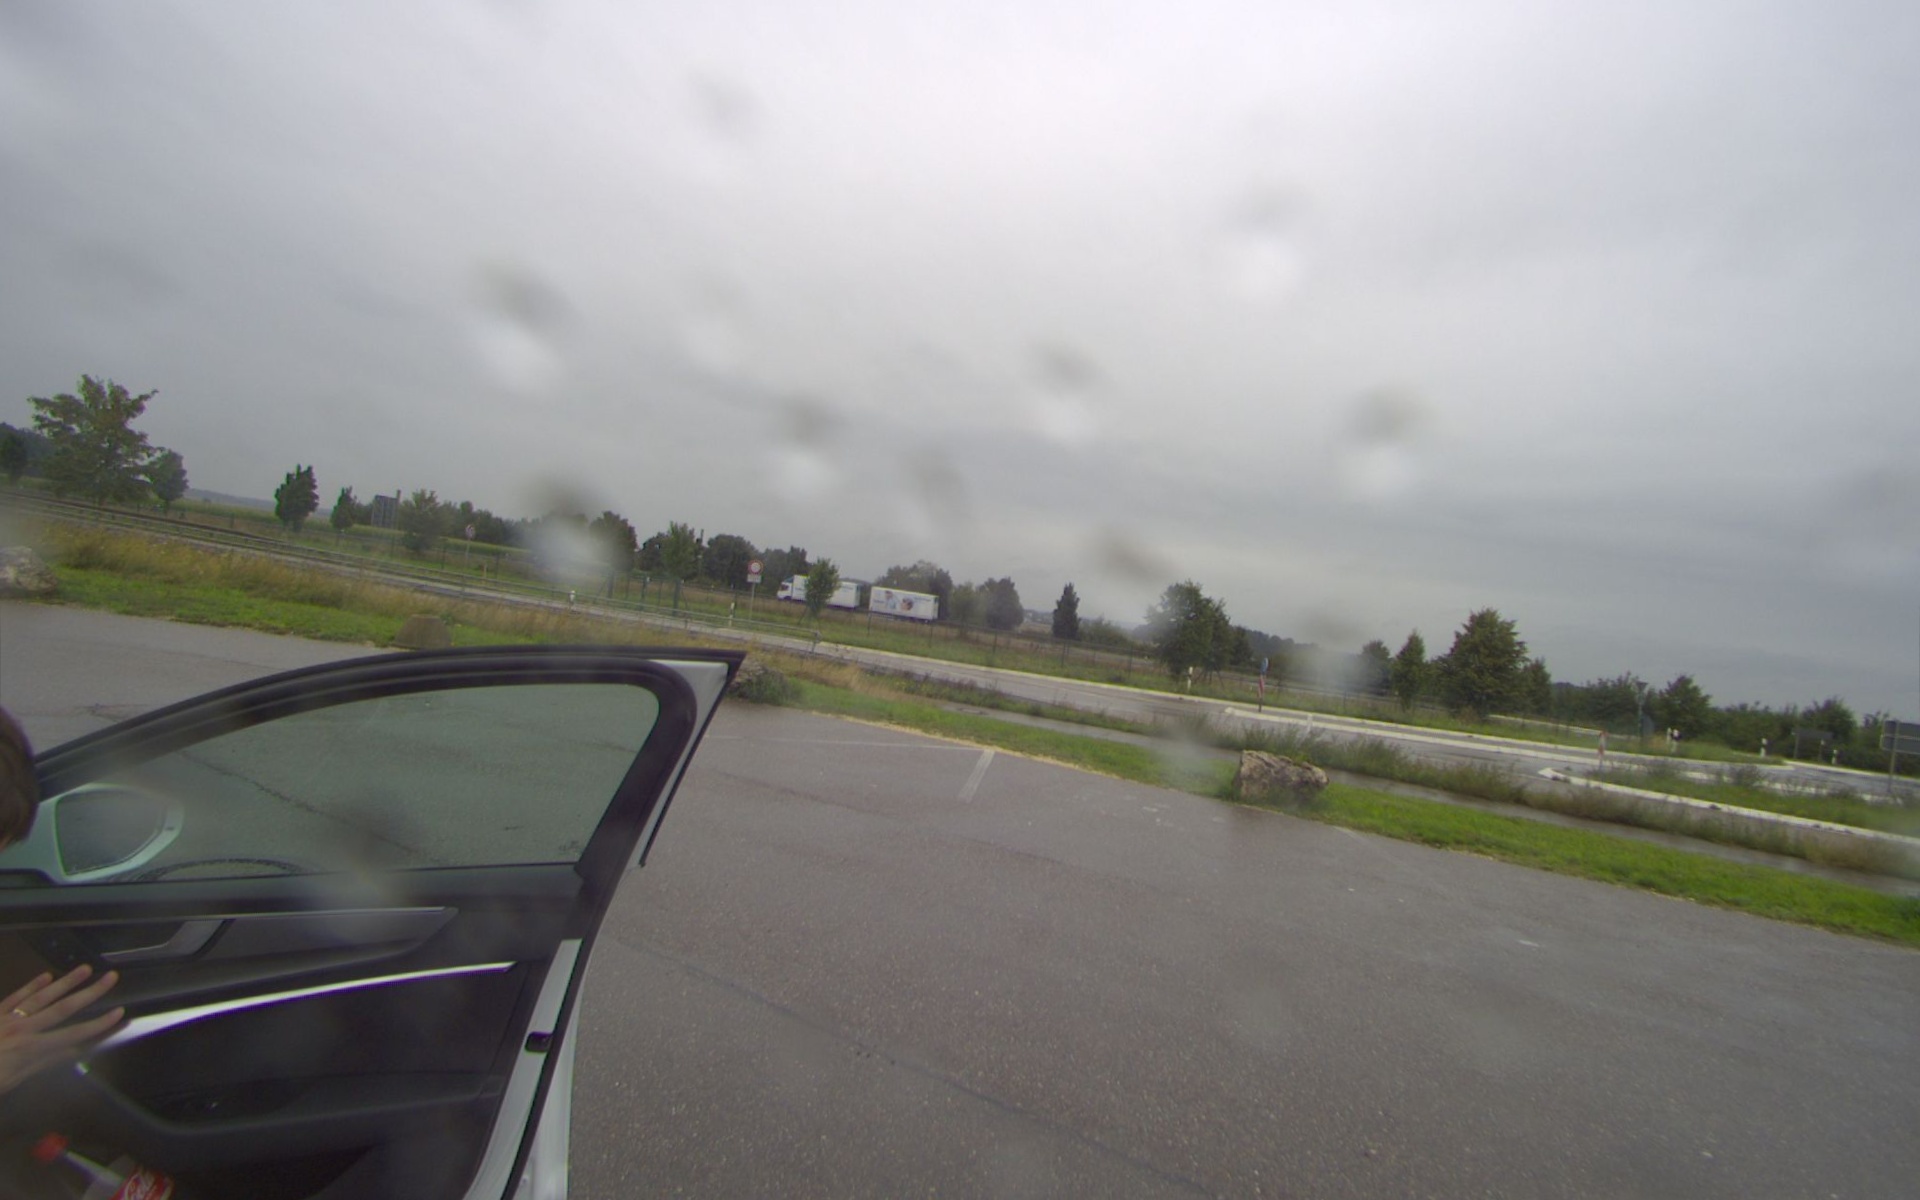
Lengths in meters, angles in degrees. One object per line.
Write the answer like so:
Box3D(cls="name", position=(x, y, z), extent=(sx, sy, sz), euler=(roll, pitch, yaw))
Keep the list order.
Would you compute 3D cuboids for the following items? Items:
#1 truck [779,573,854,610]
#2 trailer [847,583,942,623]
Box3D(cls="truck", position=(-16.036, -0.892, 112.722), extent=(7.645, 2.942, 2.185), euler=(8, -1, 5))
Box3D(cls="trailer", position=(-7.262, 0.358, 111.485), extent=(9.949, 2.936, 2.209), euler=(8, -1, 11))
